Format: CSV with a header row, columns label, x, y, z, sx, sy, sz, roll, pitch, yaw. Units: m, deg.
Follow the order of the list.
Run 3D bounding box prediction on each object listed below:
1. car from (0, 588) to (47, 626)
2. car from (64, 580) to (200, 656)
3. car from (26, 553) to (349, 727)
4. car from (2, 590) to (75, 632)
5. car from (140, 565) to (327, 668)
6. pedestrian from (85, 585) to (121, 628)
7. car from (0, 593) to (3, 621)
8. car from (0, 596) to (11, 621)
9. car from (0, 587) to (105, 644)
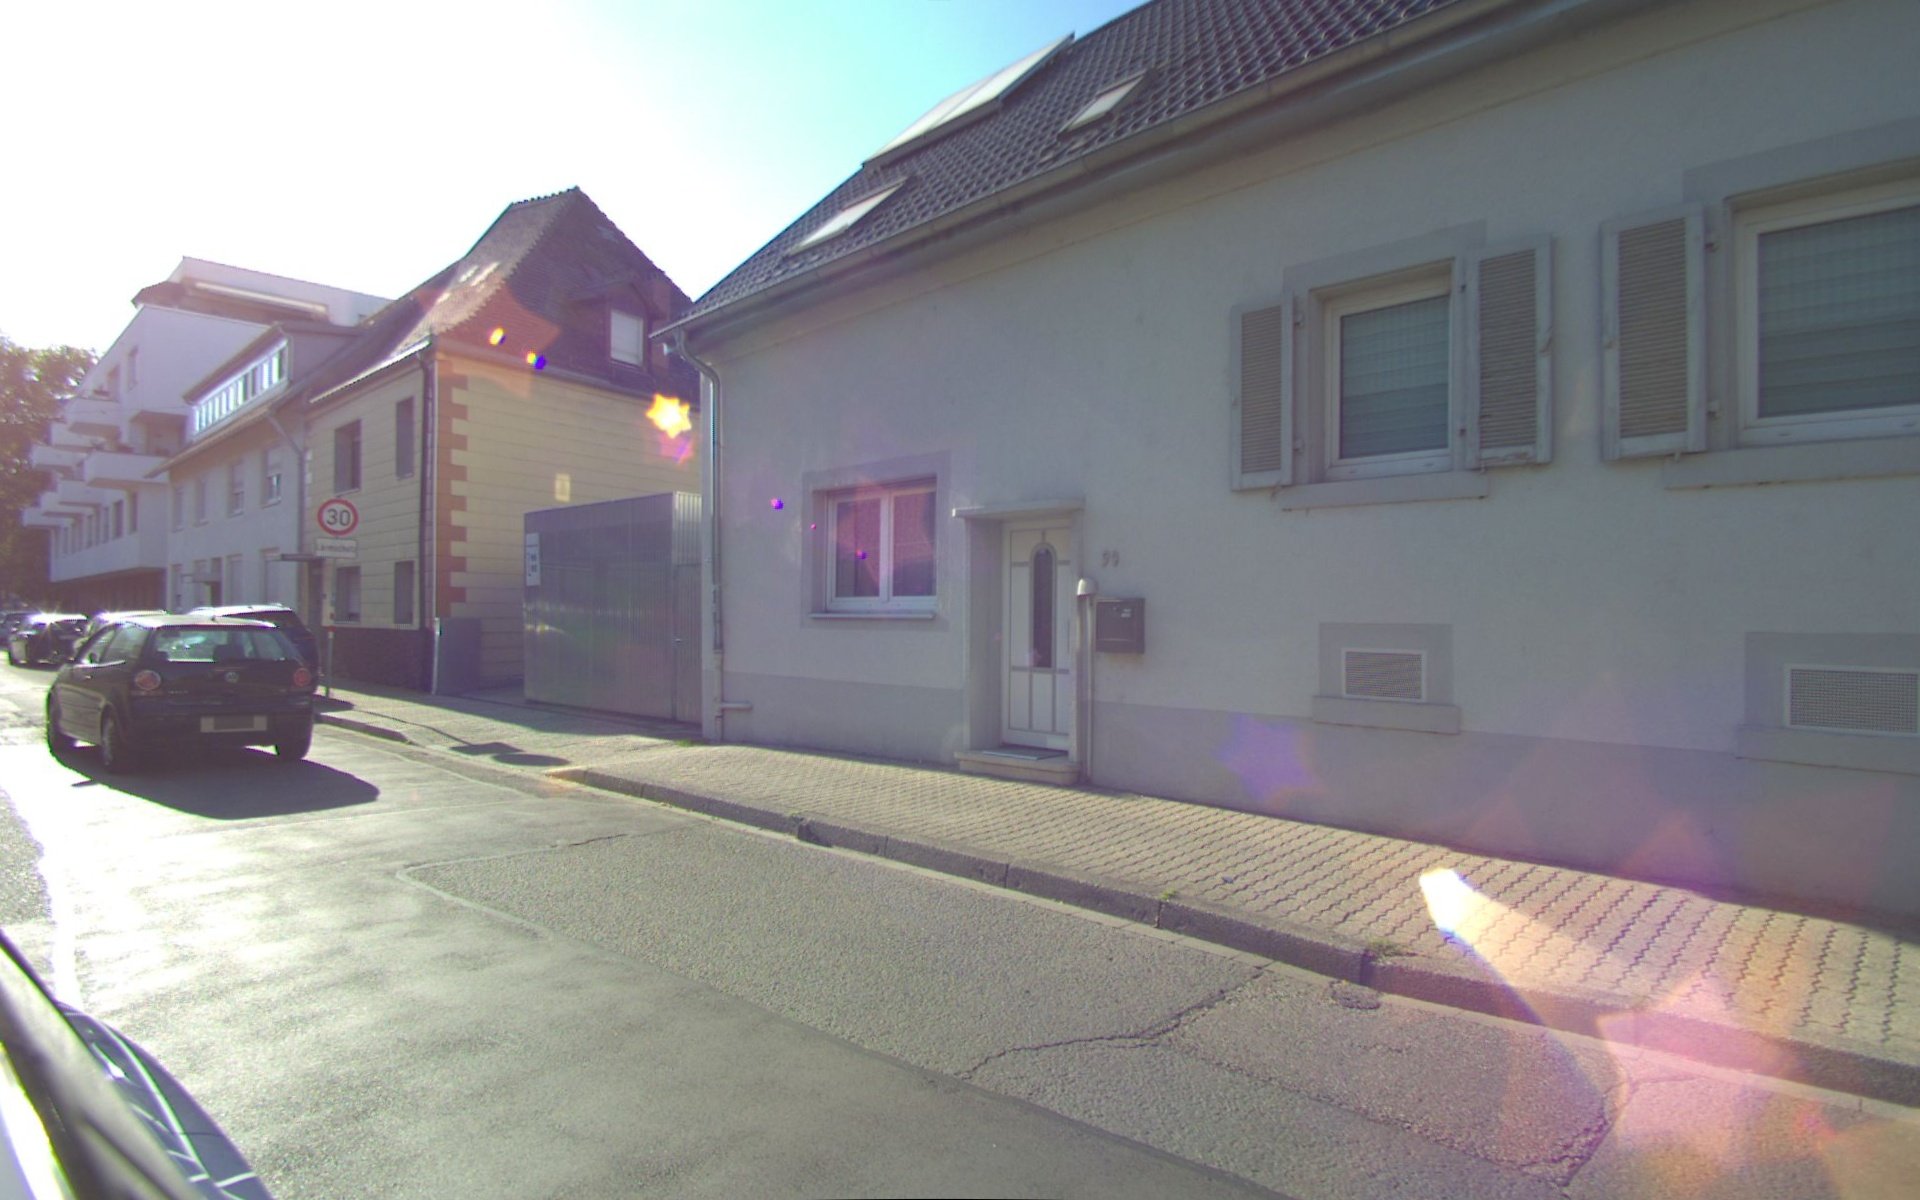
label,x,y,z,sx,sy,sz,roll,pitch,yaw
car,-43.495,0.297,46.287,4.616,1.599,1.840,0,2,39
car,-19.643,0.403,23.934,4.335,1.599,1.838,-1,1,42
car,-8.320,0.350,10.777,4.140,1.502,1.824,1,-1,40
car,-36.580,0.393,40.133,3.855,1.547,1.650,0,2,41
car,-13.047,0.286,18.071,4.191,1.599,1.790,-2,1,42
pedestrian,-37.842,0.279,44.701,0.849,1.832,1.136,-4,2,-25
car,-52.297,0.375,53.780,3.768,1.444,1.658,0,2,40
car,-65.962,0.607,67.296,1.683,1.674,3.944,0,1,13
car,-27.330,0.404,30.366,4.329,1.546,1.669,0,2,38
